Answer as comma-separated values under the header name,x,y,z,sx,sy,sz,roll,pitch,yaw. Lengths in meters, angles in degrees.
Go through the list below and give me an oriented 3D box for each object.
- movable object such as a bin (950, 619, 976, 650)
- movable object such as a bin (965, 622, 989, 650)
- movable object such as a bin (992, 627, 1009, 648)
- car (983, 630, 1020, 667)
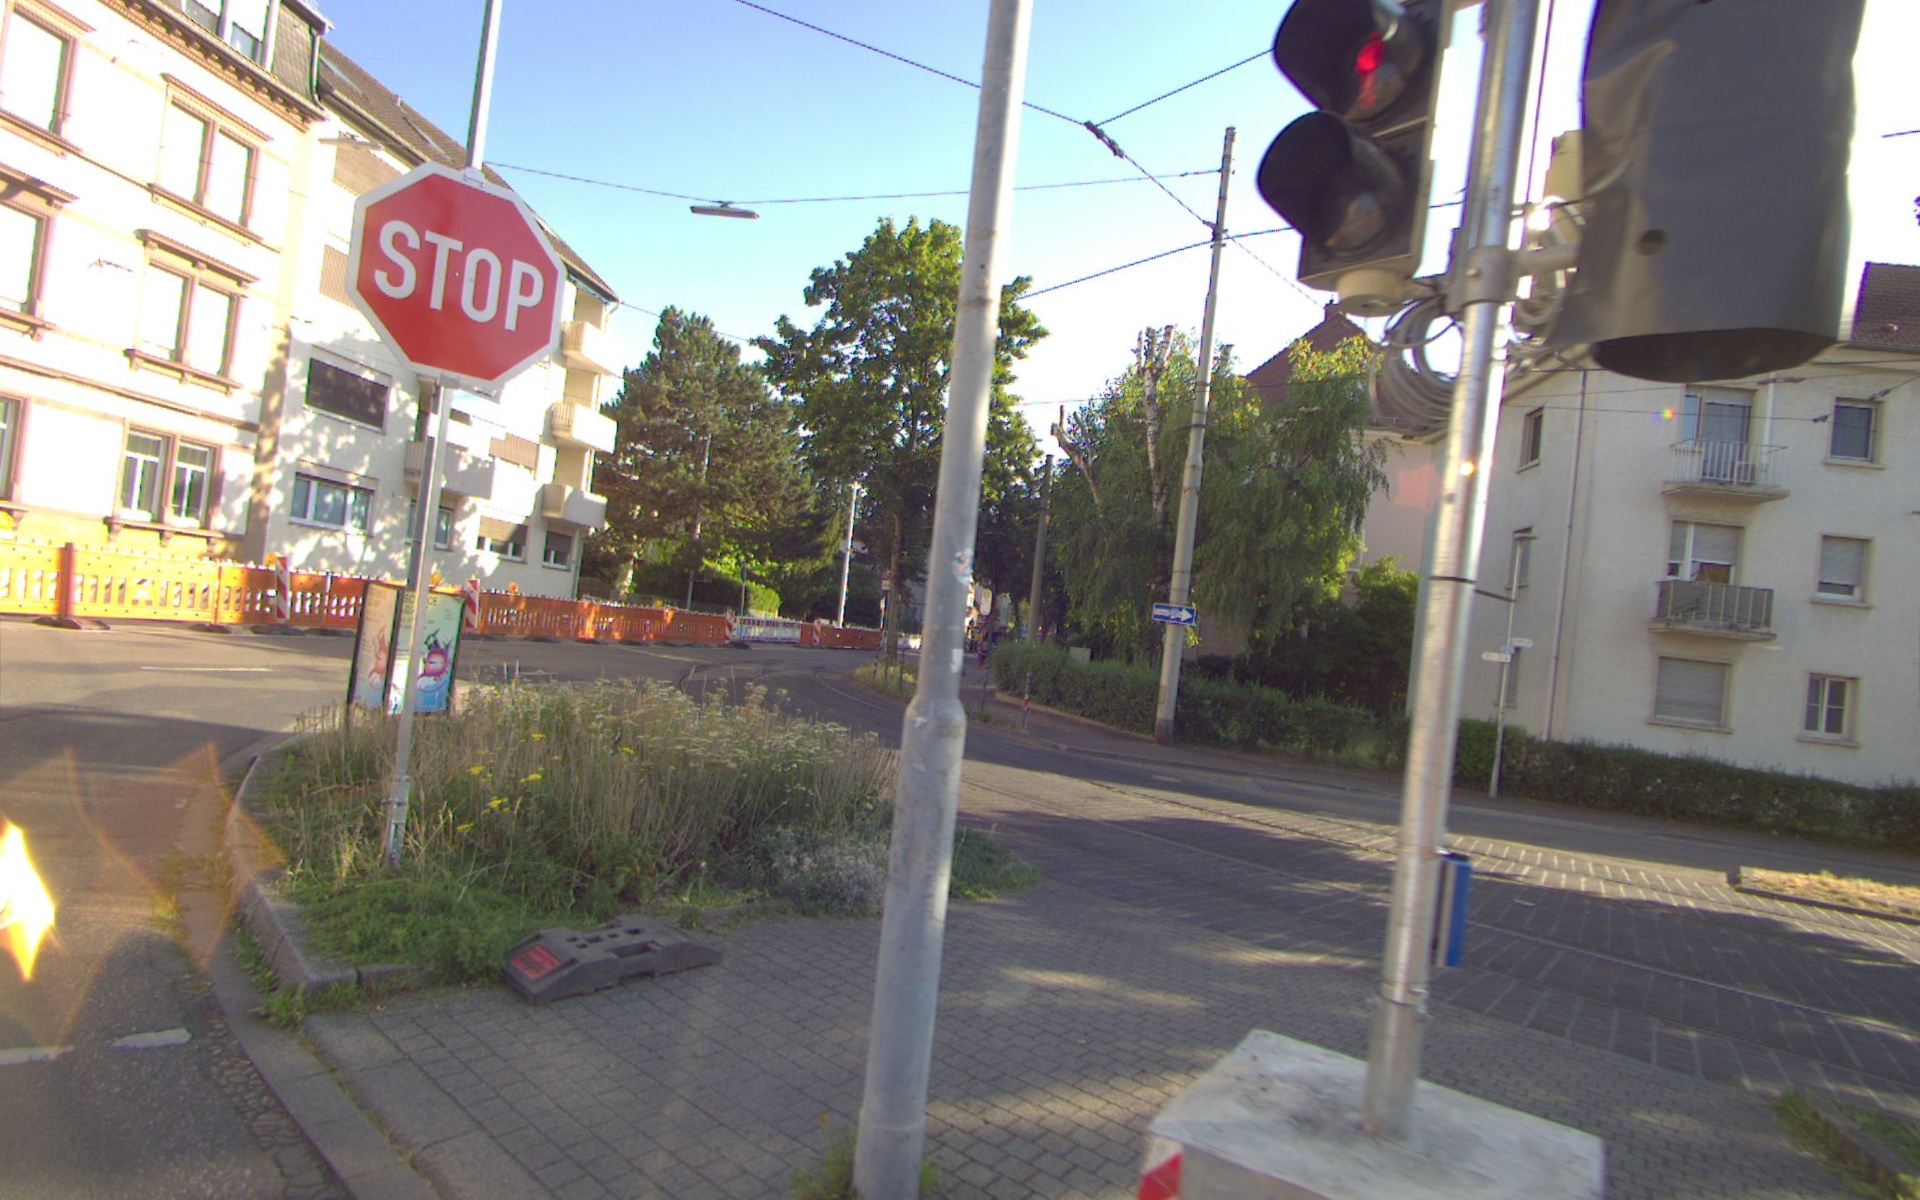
name,x,y,z,sx,sy,sz,roll,pitch,yaw
movable object such as a bin,0.337,3.674,106.800,2.052,2.933,4.003,7,-1,5
movable object such as a bin,1.931,4.059,113.503,2.052,2.933,4.003,7,-1,5
movable object such as a bin,6.074,5.608,150.370,2.052,2.933,4.003,7,-1,5
car,2.286,2.622,55.229,1.791,1.793,3.940,5,-1,3
